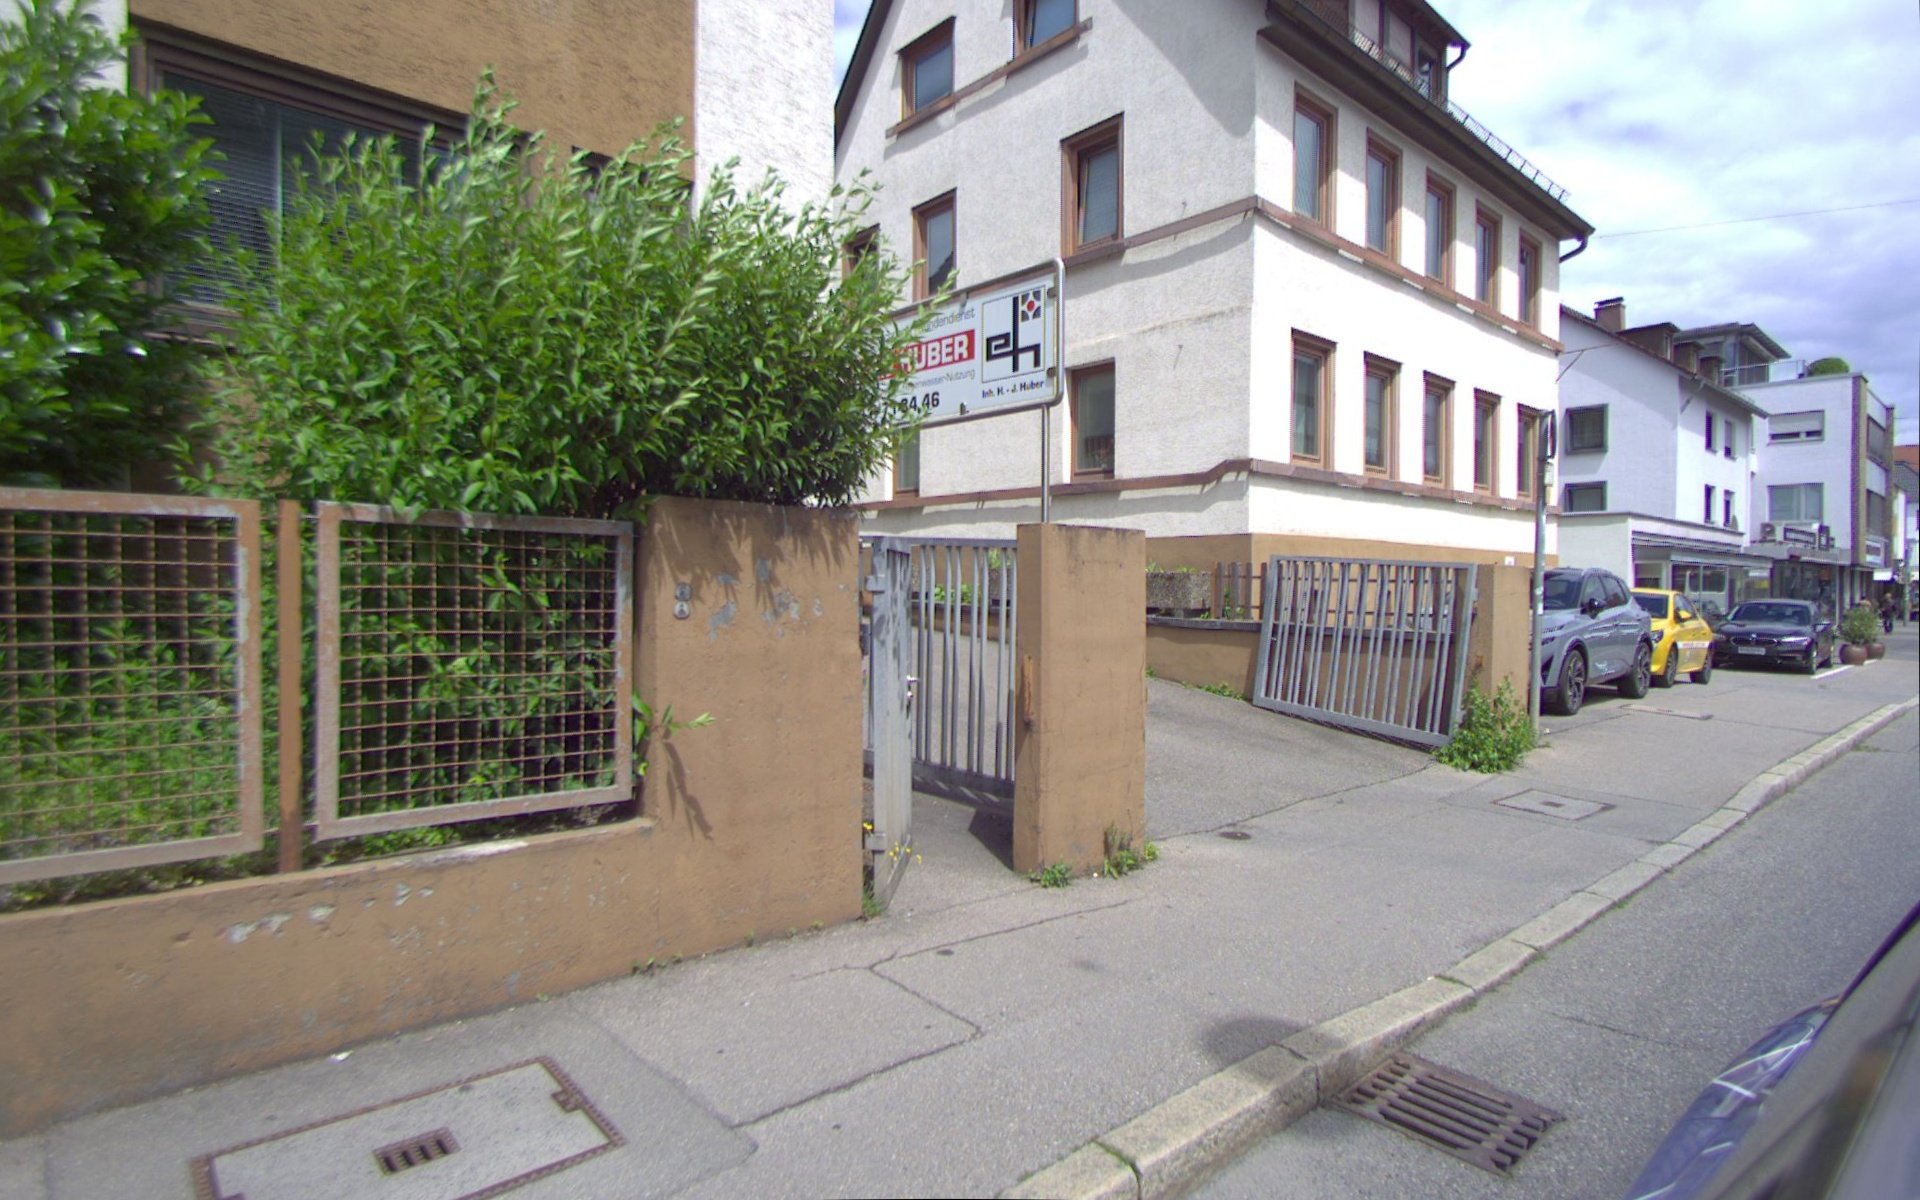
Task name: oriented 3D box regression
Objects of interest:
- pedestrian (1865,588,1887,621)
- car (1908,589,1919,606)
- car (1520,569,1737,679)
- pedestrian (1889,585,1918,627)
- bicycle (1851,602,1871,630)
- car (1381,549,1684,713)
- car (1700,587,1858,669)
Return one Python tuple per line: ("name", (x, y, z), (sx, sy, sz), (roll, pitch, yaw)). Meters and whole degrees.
("pedestrian", (42.969, 0.214, 47.468), (0.707, 1.517, 0.680), (0, 1, -42))
("car", (104.585, -0.291, 109.772), (3.904, 1.779, 2.148), (0, 2, -42))
("car", (10.452, 0.374, 15.695), (4.234, 1.466, 1.879), (3, 0, -44))
("pedestrian", (39.155, 0.240, 41.997), (0.793, 1.691, 0.796), (0, 2, -42))
("bicycle", (34.763, 0.594, 39.070), (0.474, 1.041, 1.613), (2, 1, 39))
("car", (7.114, 0.275, 12.362), (4.507, 1.632, 1.864), (0, 2, -42))
("car", (16.984, 0.494, 20.919), (4.460, 1.465, 1.970), (0, 2, -44))
